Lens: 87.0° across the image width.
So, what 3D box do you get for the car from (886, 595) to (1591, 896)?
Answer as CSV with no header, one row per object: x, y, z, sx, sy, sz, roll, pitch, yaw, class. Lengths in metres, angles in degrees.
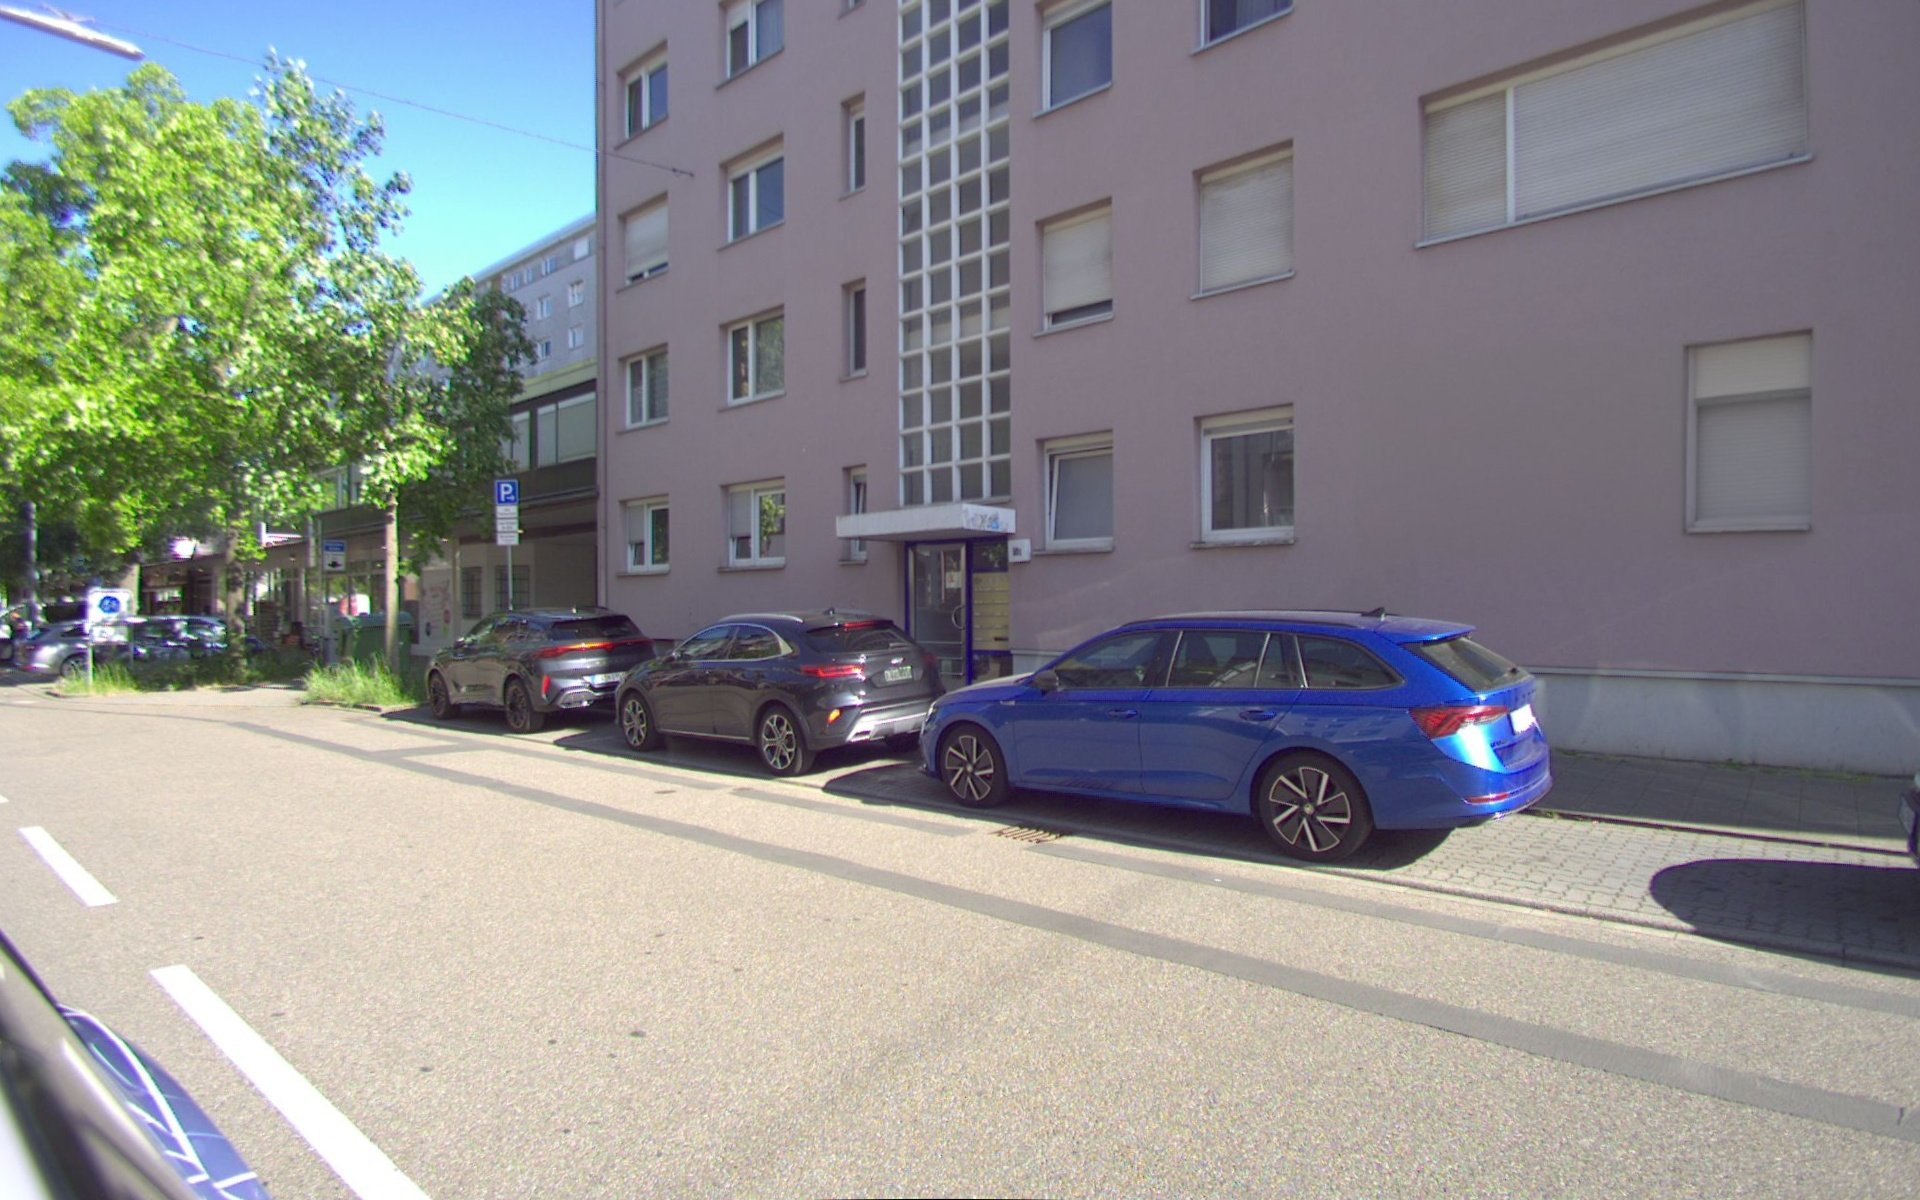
1.716,0.780,7.319,4.610,1.476,1.700,-1,1,41,car

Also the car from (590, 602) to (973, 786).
-2.048,0.841,10.800,4.245,1.519,1.798,-1,1,43,car

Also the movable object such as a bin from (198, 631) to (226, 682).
-18.488,1.385,25.024,0.409,1.234,0.482,-1,-1,41,movable object such as a bin

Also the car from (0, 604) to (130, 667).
-31.284,1.175,34.828,1.999,2.047,3.945,-1,-1,41,car

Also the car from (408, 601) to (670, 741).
-6.053,0.894,14.332,4.141,1.604,1.798,-1,2,43,car

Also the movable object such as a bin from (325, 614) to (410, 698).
-11.576,1.066,19.774,1.230,1.557,1.019,0,-1,-44,movable object such as a bin

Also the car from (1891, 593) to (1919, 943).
6.294,0.682,3.211,4.812,1.476,1.700,-1,1,41,car

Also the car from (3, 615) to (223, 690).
-20.972,1.230,25.170,1.999,1.687,3.945,-1,-1,41,car
